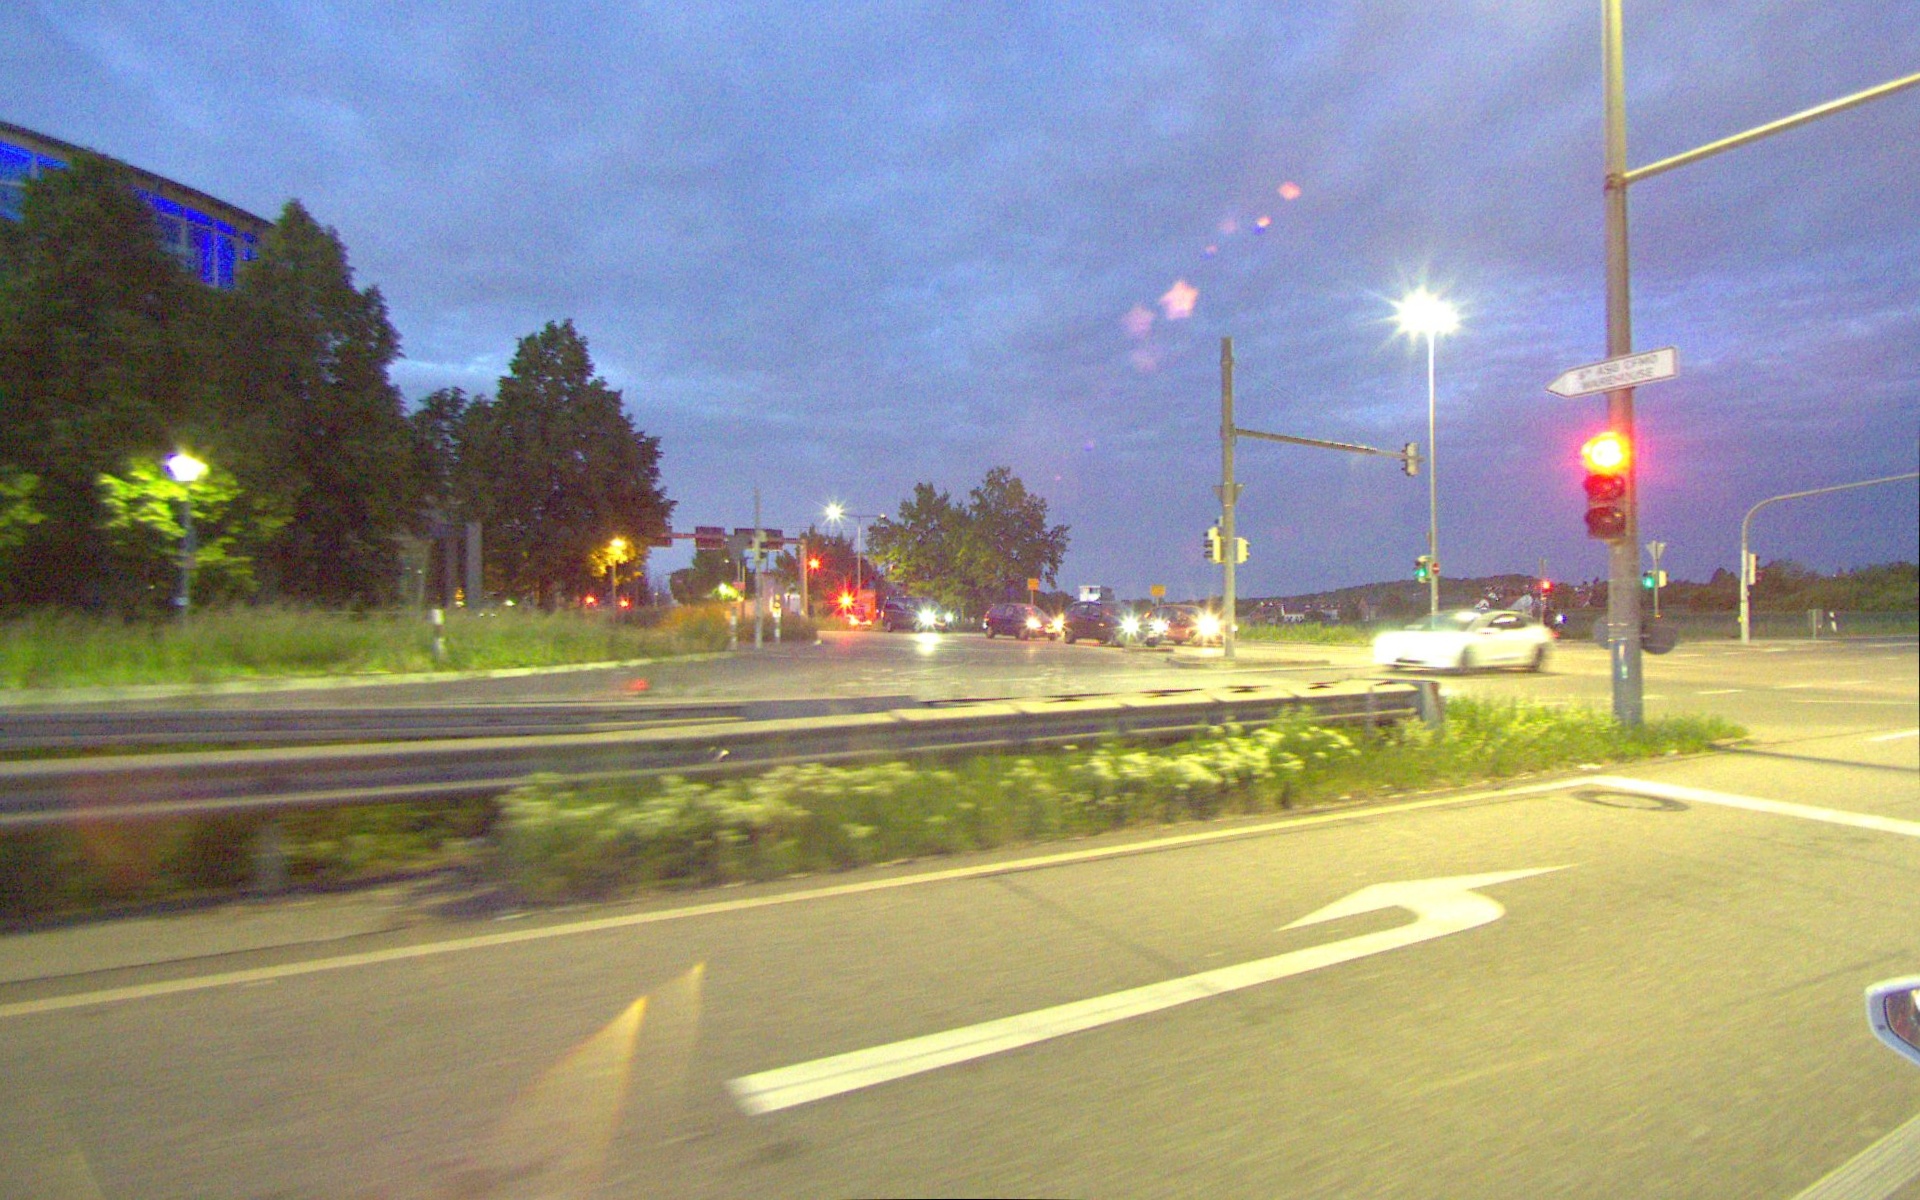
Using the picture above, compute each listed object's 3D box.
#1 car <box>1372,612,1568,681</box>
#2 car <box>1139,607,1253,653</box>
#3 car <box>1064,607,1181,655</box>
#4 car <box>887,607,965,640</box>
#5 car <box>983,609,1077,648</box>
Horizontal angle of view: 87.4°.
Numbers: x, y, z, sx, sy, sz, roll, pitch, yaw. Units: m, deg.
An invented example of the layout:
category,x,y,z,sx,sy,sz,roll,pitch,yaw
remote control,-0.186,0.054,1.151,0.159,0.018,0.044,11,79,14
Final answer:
category,x,y,z,sx,sy,sz,roll,pitch,yaw
car,11.815,1.012,23.230,4.480,1.444,1.984,1,-1,-31
car,8.540,1.073,36.648,1.711,1.558,4.018,1,-1,-32
car,5.583,1.056,34.977,1.710,1.558,4.291,1,-2,-31
car,-1.915,1.277,54.546,2.187,1.716,4.563,1,-2,-34
car,2.773,1.132,40.606,1.713,1.493,3.960,1,-2,-35
